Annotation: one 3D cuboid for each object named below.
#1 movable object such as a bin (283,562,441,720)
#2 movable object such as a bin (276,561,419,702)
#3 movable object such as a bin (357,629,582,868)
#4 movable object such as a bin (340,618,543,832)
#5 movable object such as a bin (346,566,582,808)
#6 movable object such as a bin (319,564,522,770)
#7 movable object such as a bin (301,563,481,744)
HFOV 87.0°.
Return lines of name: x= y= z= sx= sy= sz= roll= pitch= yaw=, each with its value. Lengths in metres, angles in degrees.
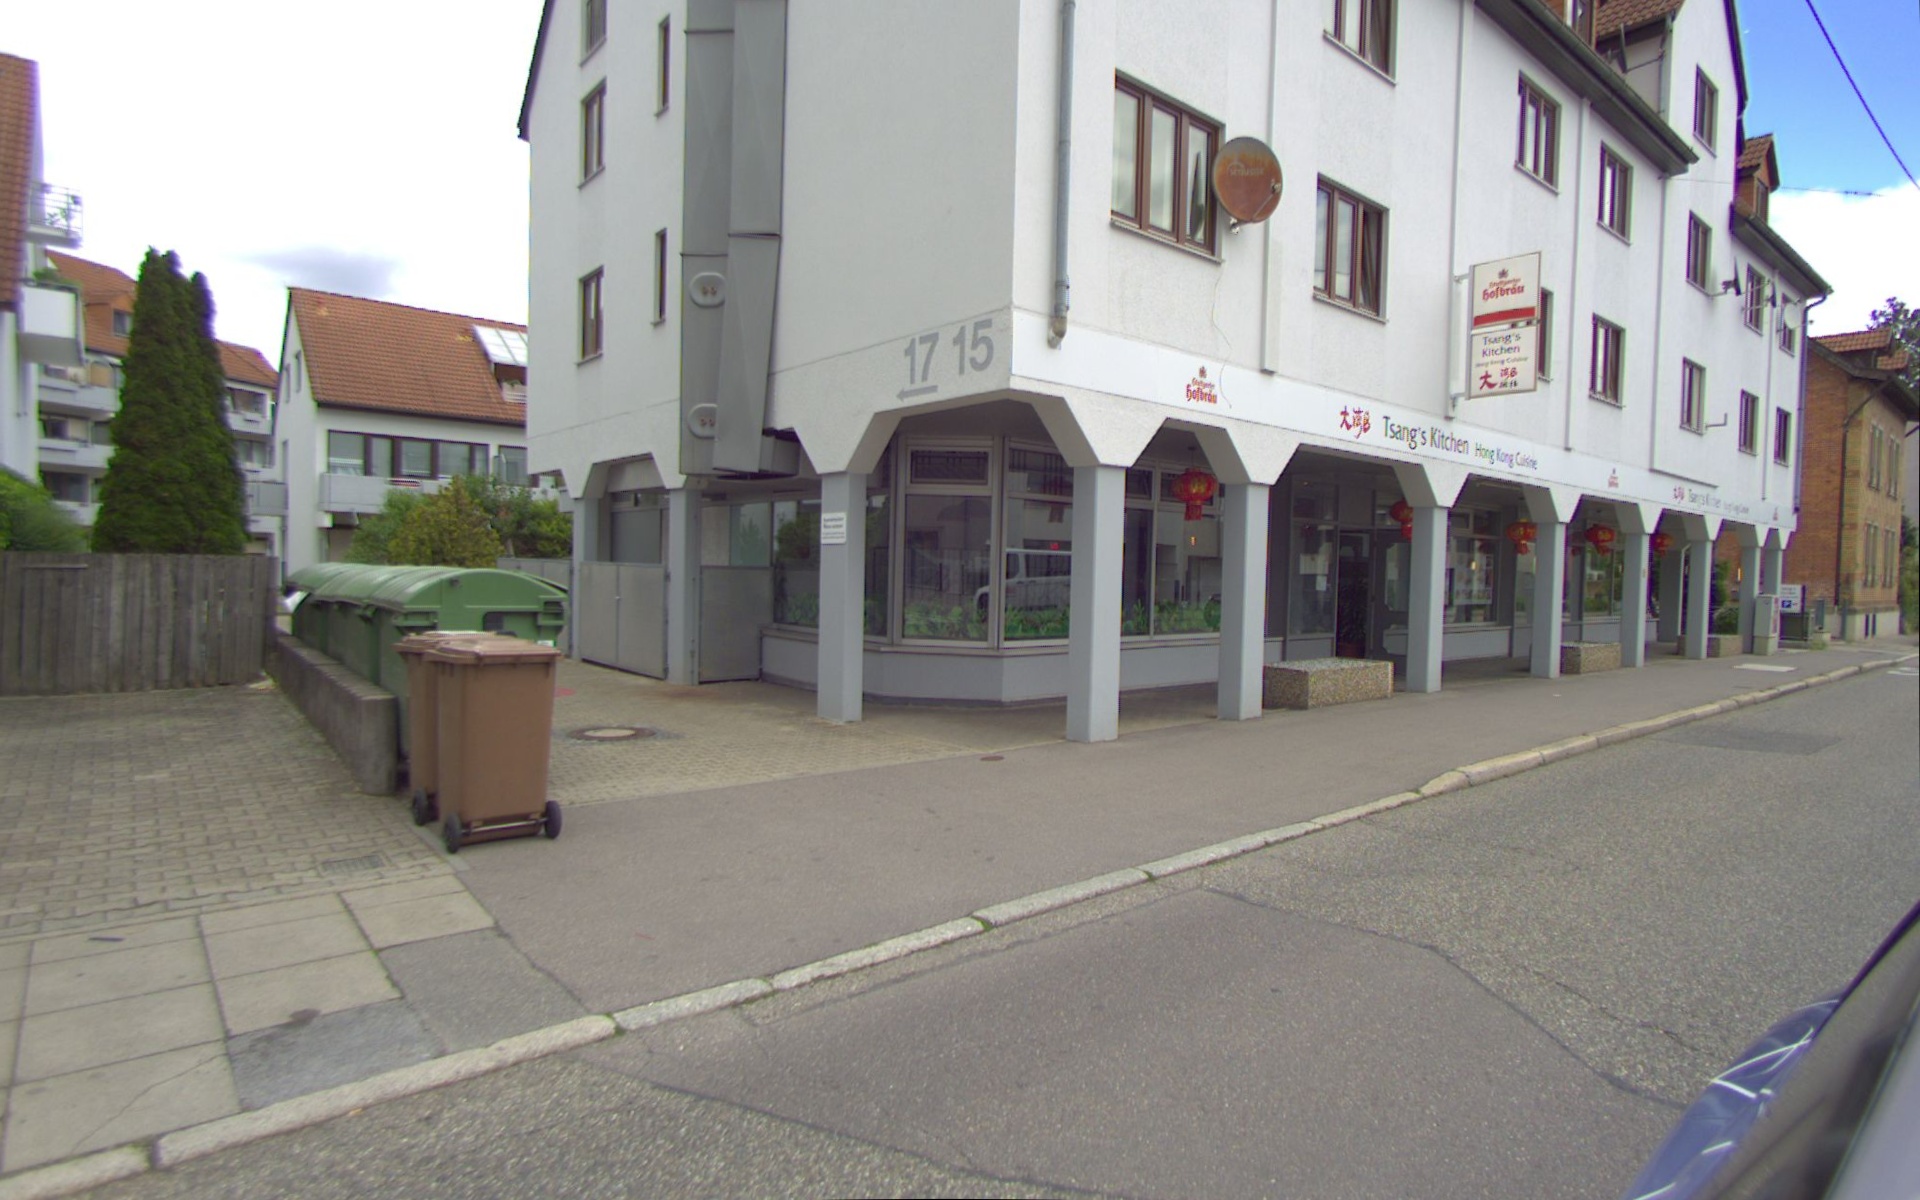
movable object such as a bin: x=-6.004 y=0.361 z=10.150 sx=1.236 sy=1.435 sz=1.213 roll=0 pitch=2 yaw=-37
movable object such as a bin: x=-6.756 y=0.303 z=11.150 sx=1.236 sy=1.435 sz=1.213 roll=0 pitch=2 yaw=-37
movable object such as a bin: x=-2.601 y=0.723 z=5.369 sx=0.953 sy=1.080 sz=0.685 roll=0 pitch=2 yaw=-37
movable object such as a bin: x=-3.049 y=0.677 z=5.948 sx=0.953 sy=1.092 sz=0.700 roll=0 pitch=2 yaw=-37
movable object such as a bin: x=-3.397 y=0.505 z=6.902 sx=1.236 sy=1.435 sz=1.213 roll=0 pitch=2 yaw=-37
movable object such as a bin: x=-4.259 y=0.453 z=7.962 sx=1.236 sy=1.435 sz=1.213 roll=0 pitch=2 yaw=-37
movable object such as a bin: x=-5.045 y=0.409 z=8.947 sx=1.236 sy=1.435 sz=1.213 roll=0 pitch=2 yaw=-37
